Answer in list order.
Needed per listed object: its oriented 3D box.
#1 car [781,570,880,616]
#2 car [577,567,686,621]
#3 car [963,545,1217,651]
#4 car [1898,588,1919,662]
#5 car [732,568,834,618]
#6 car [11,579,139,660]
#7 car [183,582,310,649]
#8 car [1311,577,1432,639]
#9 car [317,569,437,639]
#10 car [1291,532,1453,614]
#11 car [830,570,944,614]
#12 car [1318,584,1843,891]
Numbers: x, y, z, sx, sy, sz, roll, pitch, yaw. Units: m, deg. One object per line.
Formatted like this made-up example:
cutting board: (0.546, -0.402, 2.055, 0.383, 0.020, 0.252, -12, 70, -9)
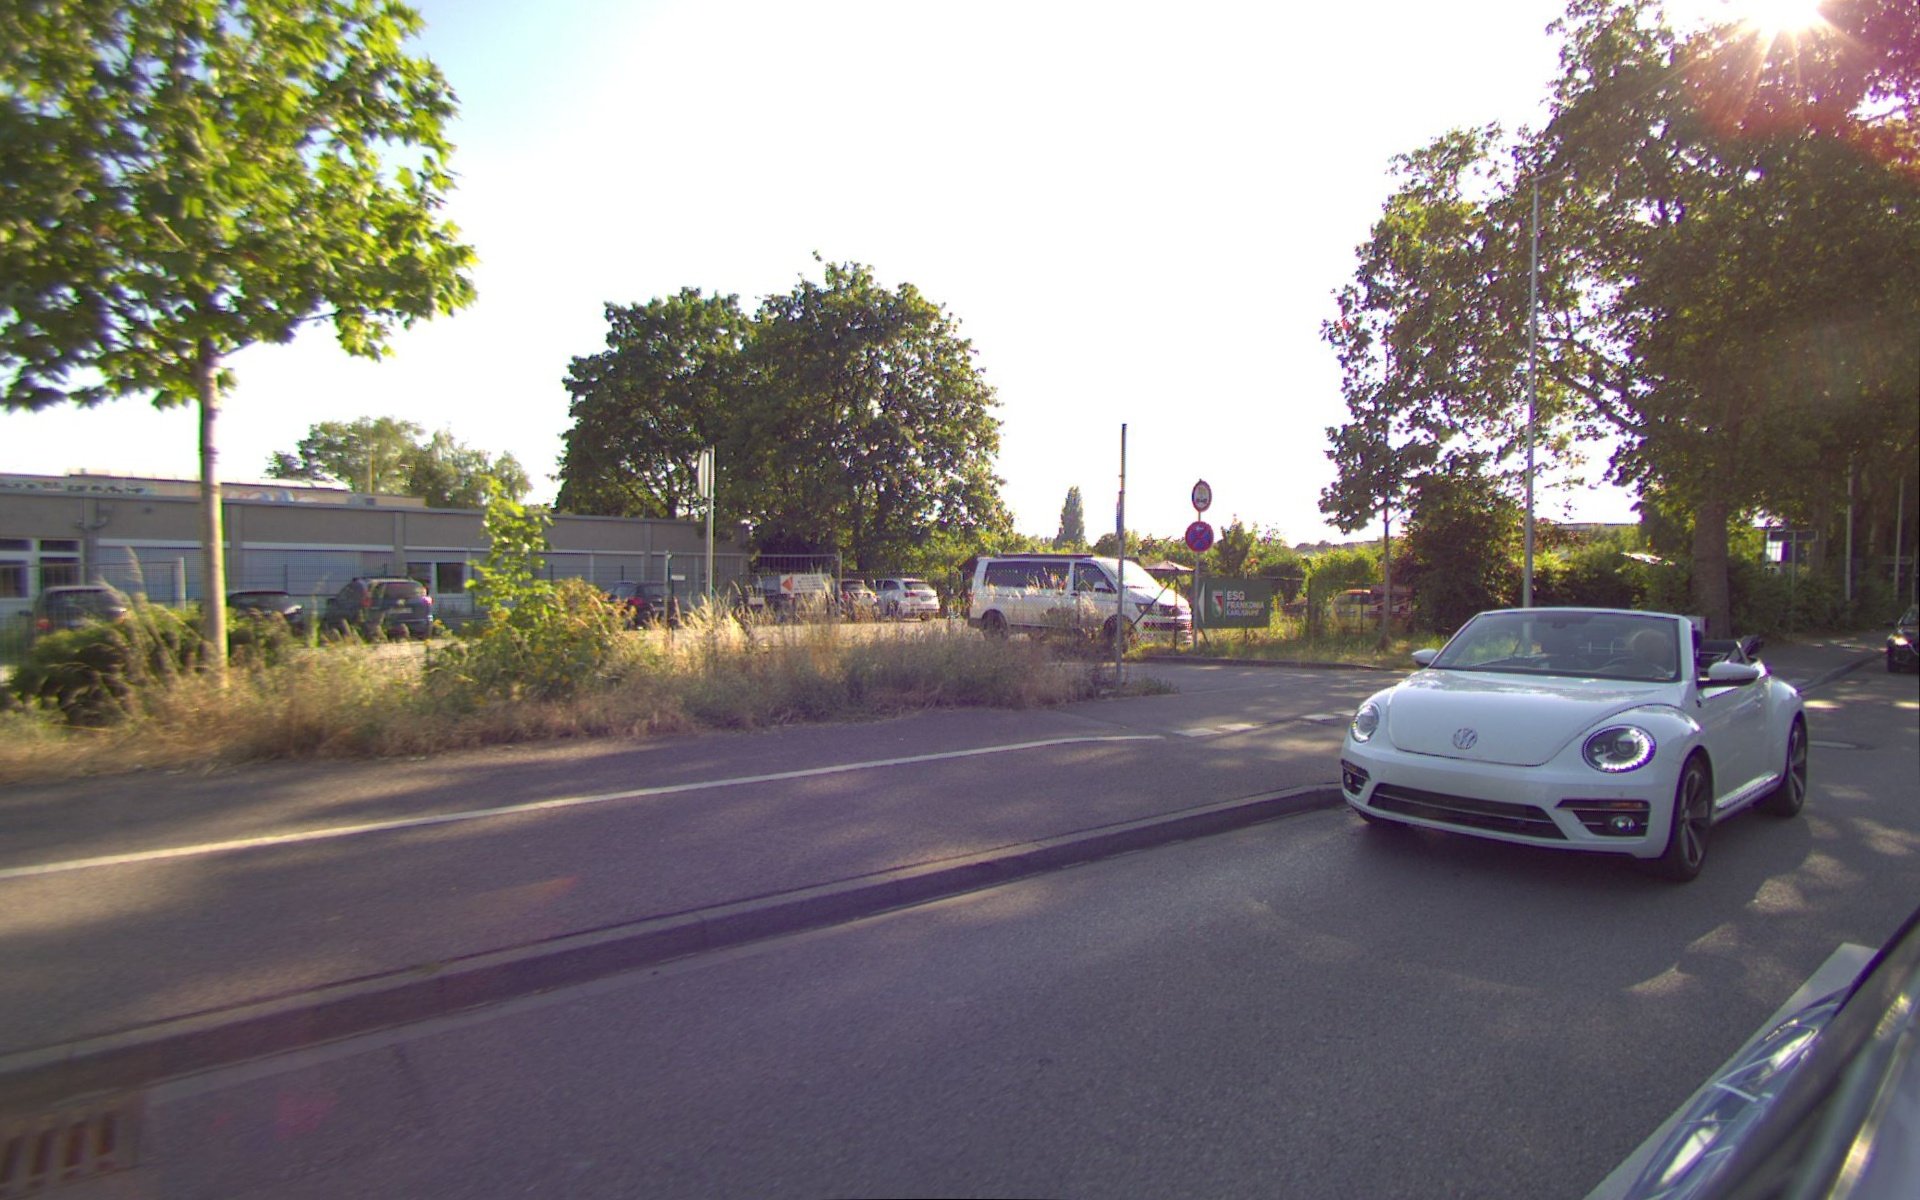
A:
car: (-4.825, -0.243, 37.471, 1.695, 1.606, 3.830, 0, 0, -45)
car: (-10.625, -0.182, 32.612, 4.018, 1.606, 1.659, 0, 0, 43)
car: (2.691, -0.037, 22.059, 5.337, 2.048, 2.070, 0, 0, 45)
car: (21.662, 0.525, 21.851, 3.931, 1.530, 1.739, 0, 1, -42)
car: (-6.266, -0.238, 35.571, 1.637, 1.661, 3.865, 0, 0, -45)
car: (-19.825, 0.358, 22.624, 3.781, 1.575, 1.703, 1, 4, 43)
car: (-17.486, 0.307, 24.737, 3.780, 1.413, 1.714, 1, 4, 42)
car: (12.190, 0.193, 29.853, 1.993, 1.667, 4.092, 2, 2, 43)
car: (-15.349, 0.073, 26.568, 3.908, 1.687, 1.680, 0, 1, 44)
car: (14.629, -0.926, 35.785, 5.818, 2.654, 2.939, 0, 2, -40)
car: (-2.904, -0.290, 39.462, 4.648, 1.589, 1.830, 0, 0, 44)
car: (4.296, 0.639, 6.779, 3.909, 1.441, 1.856, 0, 1, -40)
